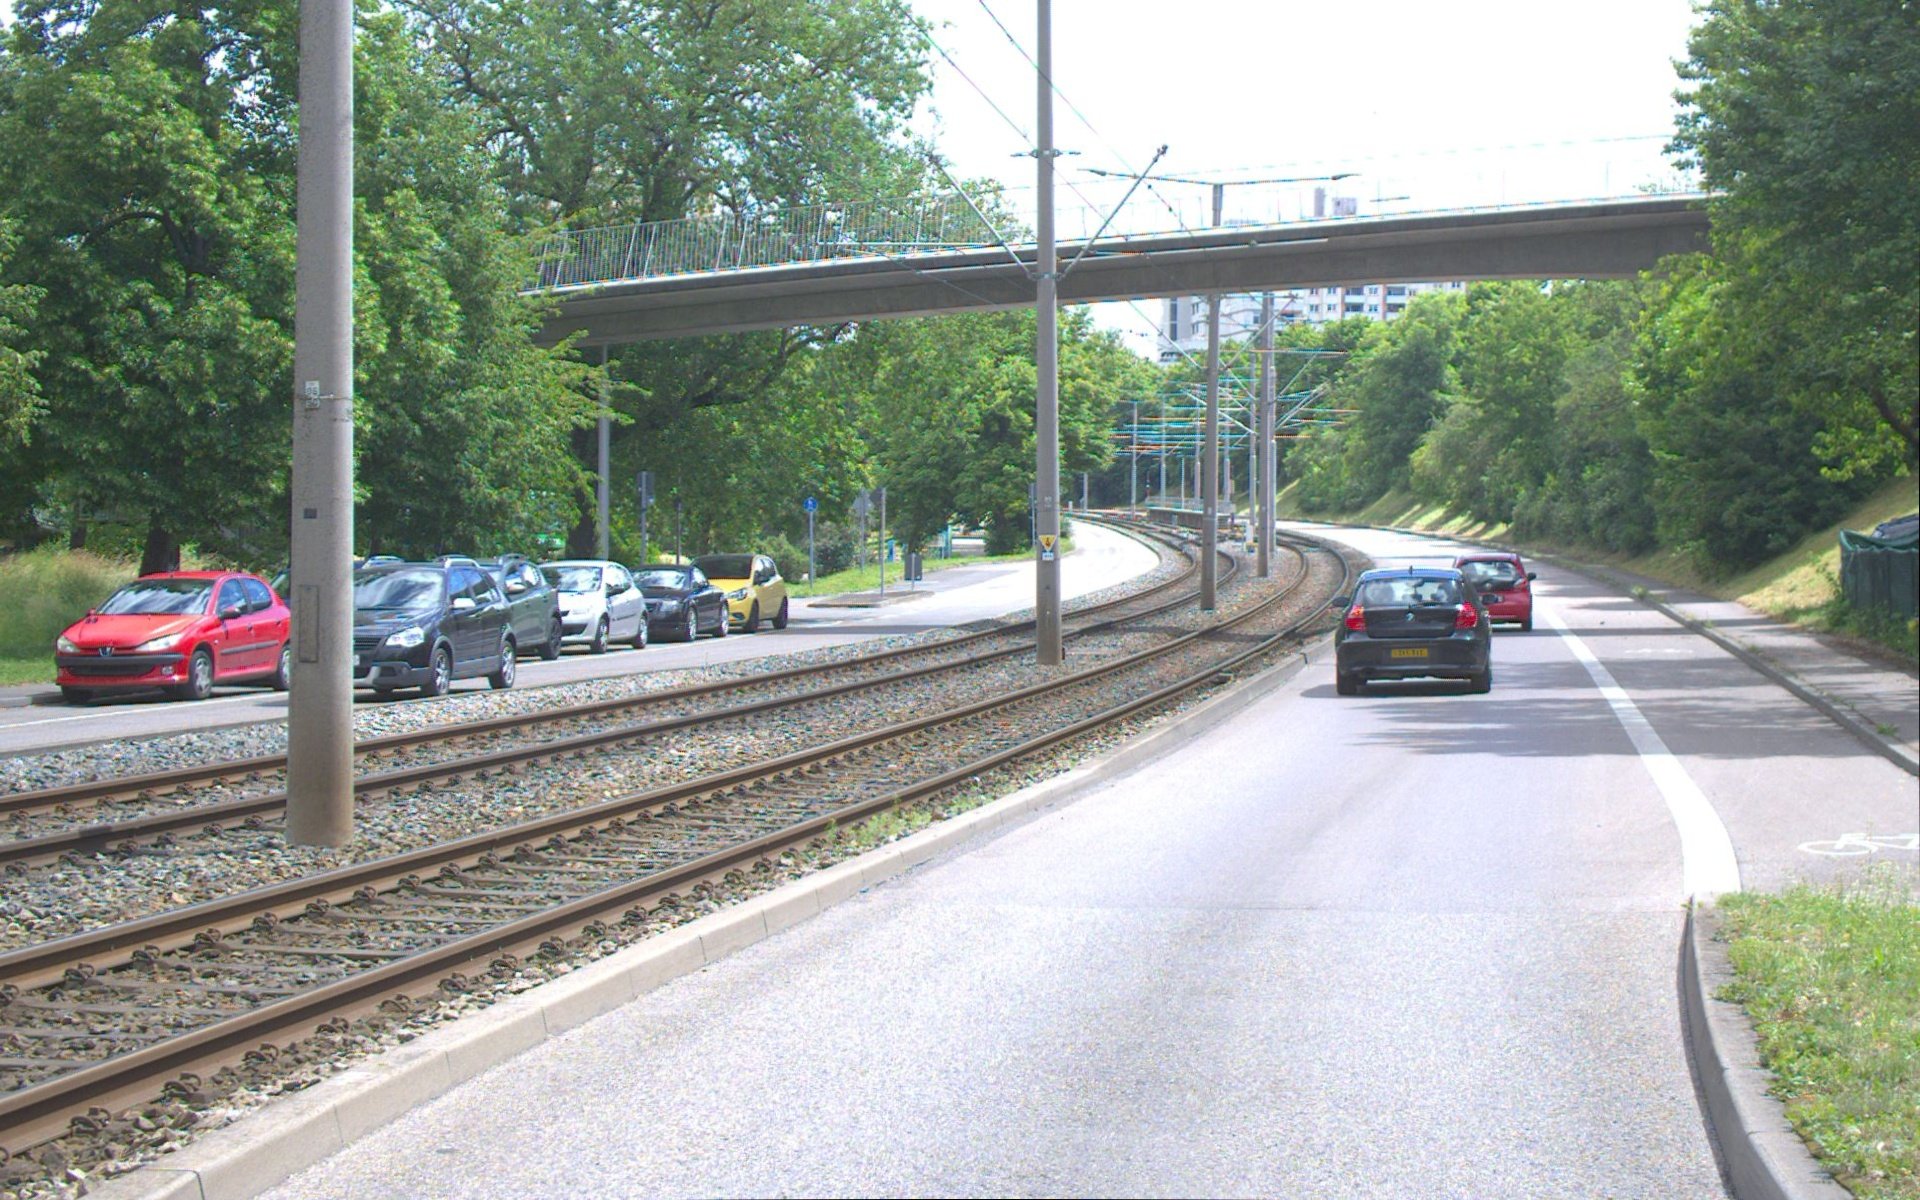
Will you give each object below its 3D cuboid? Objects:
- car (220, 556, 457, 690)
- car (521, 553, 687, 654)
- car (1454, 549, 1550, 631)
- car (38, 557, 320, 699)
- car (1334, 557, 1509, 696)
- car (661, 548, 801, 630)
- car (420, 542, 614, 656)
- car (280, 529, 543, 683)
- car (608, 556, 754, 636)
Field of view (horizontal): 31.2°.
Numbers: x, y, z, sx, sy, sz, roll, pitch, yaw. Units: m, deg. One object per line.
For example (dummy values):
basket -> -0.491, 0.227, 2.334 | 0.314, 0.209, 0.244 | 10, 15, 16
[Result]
car -> -7.916, 0.312, 44.149 | 1.558, 1.590, 4.158 | 2, -1, 11
car -> -5.660, 0.085, 55.122 | 1.594, 1.489, 4.190 | 2, -1, 9
car -> 10.139, -0.168, 64.190 | 1.625, 1.438, 3.419 | 2, 0, 11
car -> -8.847, 0.327, 39.280 | 1.614, 1.489, 4.045 | 2, -1, 11
car -> 5.341, 0.262, 39.479 | 1.709, 1.455, 3.958 | 2, 1, 11
car -> -4.341, -0.193, 65.628 | 1.690, 1.445, 3.896 | 2, -1, 11
car -> -6.504, -0.025, 50.899 | 1.643, 1.617, 4.123 | 0, 0, 11
car -> -6.018, 0.078, 38.169 | 1.614, 1.568, 3.998 | 2, 0, 10
car -> -4.875, -0.084, 60.473 | 1.512, 1.356, 4.126 | 0, 0, 11
